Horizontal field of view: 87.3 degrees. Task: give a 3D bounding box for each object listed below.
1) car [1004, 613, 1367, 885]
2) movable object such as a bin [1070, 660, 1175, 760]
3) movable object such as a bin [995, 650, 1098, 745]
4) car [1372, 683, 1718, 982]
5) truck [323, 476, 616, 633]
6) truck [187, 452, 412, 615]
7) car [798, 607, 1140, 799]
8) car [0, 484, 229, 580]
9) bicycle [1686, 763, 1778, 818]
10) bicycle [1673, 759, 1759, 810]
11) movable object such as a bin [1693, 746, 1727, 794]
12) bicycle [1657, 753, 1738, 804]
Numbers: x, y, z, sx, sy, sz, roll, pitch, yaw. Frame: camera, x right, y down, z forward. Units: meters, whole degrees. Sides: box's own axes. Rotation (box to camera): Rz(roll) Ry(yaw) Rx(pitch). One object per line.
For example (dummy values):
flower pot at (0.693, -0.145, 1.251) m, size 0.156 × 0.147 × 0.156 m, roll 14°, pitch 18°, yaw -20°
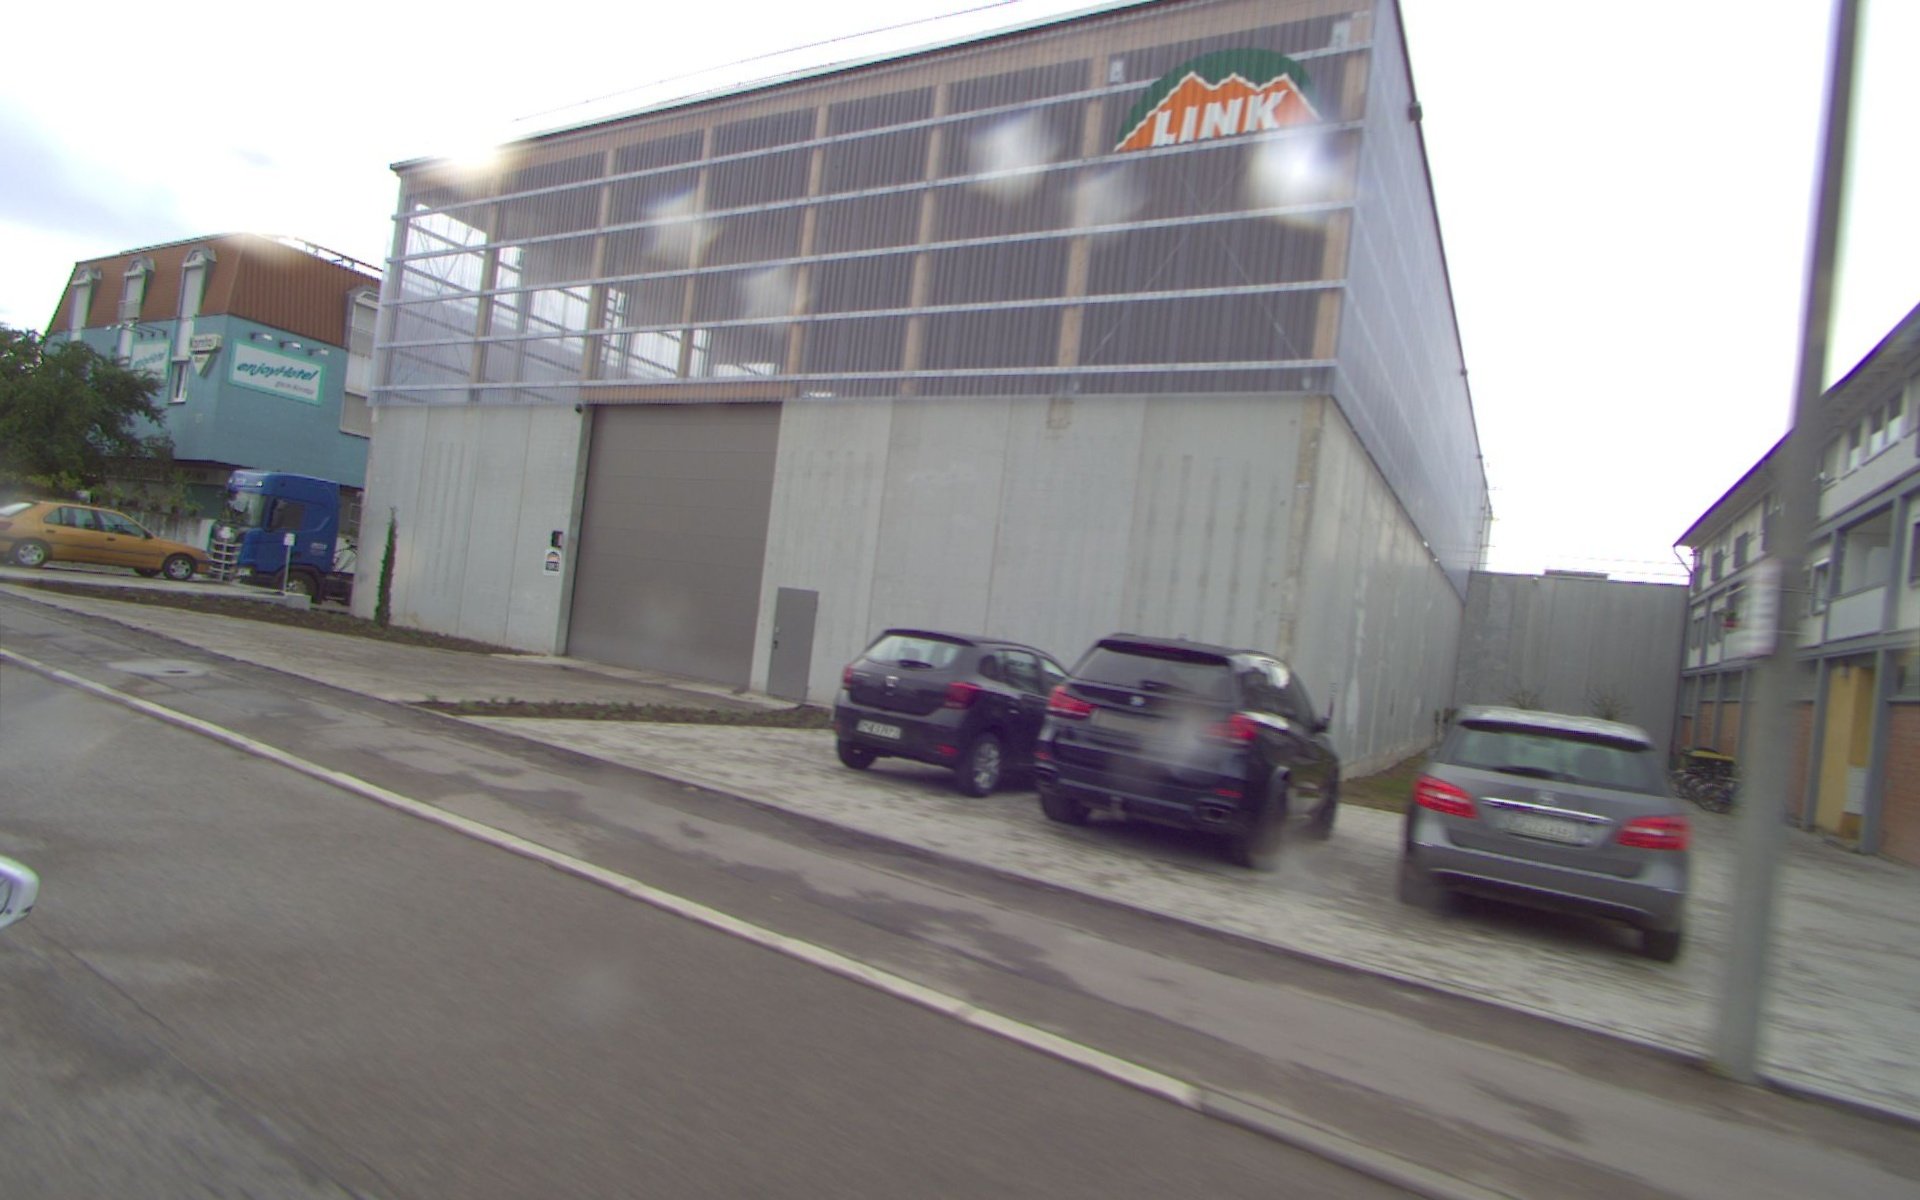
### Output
car at (2.331, 1.268, 9.301) m, size 1.947 × 1.693 × 4.238 m, roll 7°, pitch -3°, yaw 30°
movable object such as a bin at (2.568, 1.729, 15.926) m, size 1.264 × 1.355 × 0.839 m, roll 7°, pitch -2°, yaw 32°
movable object such as a bin at (1.421, 1.601, 16.557) m, size 1.299 × 1.355 × 0.839 m, roll 7°, pitch -2°, yaw 32°
car at (4.758, 1.688, 8.339) m, size 1.781 × 1.552 × 4.255 m, roll 7°, pitch -3°, yaw 31°
truck at (-16.059, -1.295, 33.876) m, size 2.675 × 3.748 × 8.562 m, roll 7°, pitch -3°, yaw 29°
truck at (-18.768, -1.816, 28.802) m, size 2.673 × 3.711 × 4.161 m, roll 7°, pitch -4°, yaw 28°
car at (0.301, 1.118, 10.991) m, size 1.802 × 1.507 × 3.975 m, roll 7°, pitch -2°, yaw 32°
car at (-18.529, -1.441, 21.762) m, size 1.603 × 1.447 × 3.997 m, roll 7°, pitch -2°, yaw 29°
bicycle at (20.150, 4.944, 26.268) m, size 1.795 × 1.072 × 0.676 m, roll 6°, pitch -2°, yaw 40°
bicycle at (21.191, 5.154, 28.213) m, size 1.795 × 1.072 × 0.676 m, roll 6°, pitch -2°, yaw 40°
movable object such as a bin at (24.074, 5.451, 32.312) m, size 0.711 × 1.397 × 0.408 m, roll 7°, pitch -1°, yaw 34°
bicycle at (21.766, 5.254, 29.710) m, size 1.795 × 1.131 × 0.676 m, roll 6°, pitch -2°, yaw 40°
